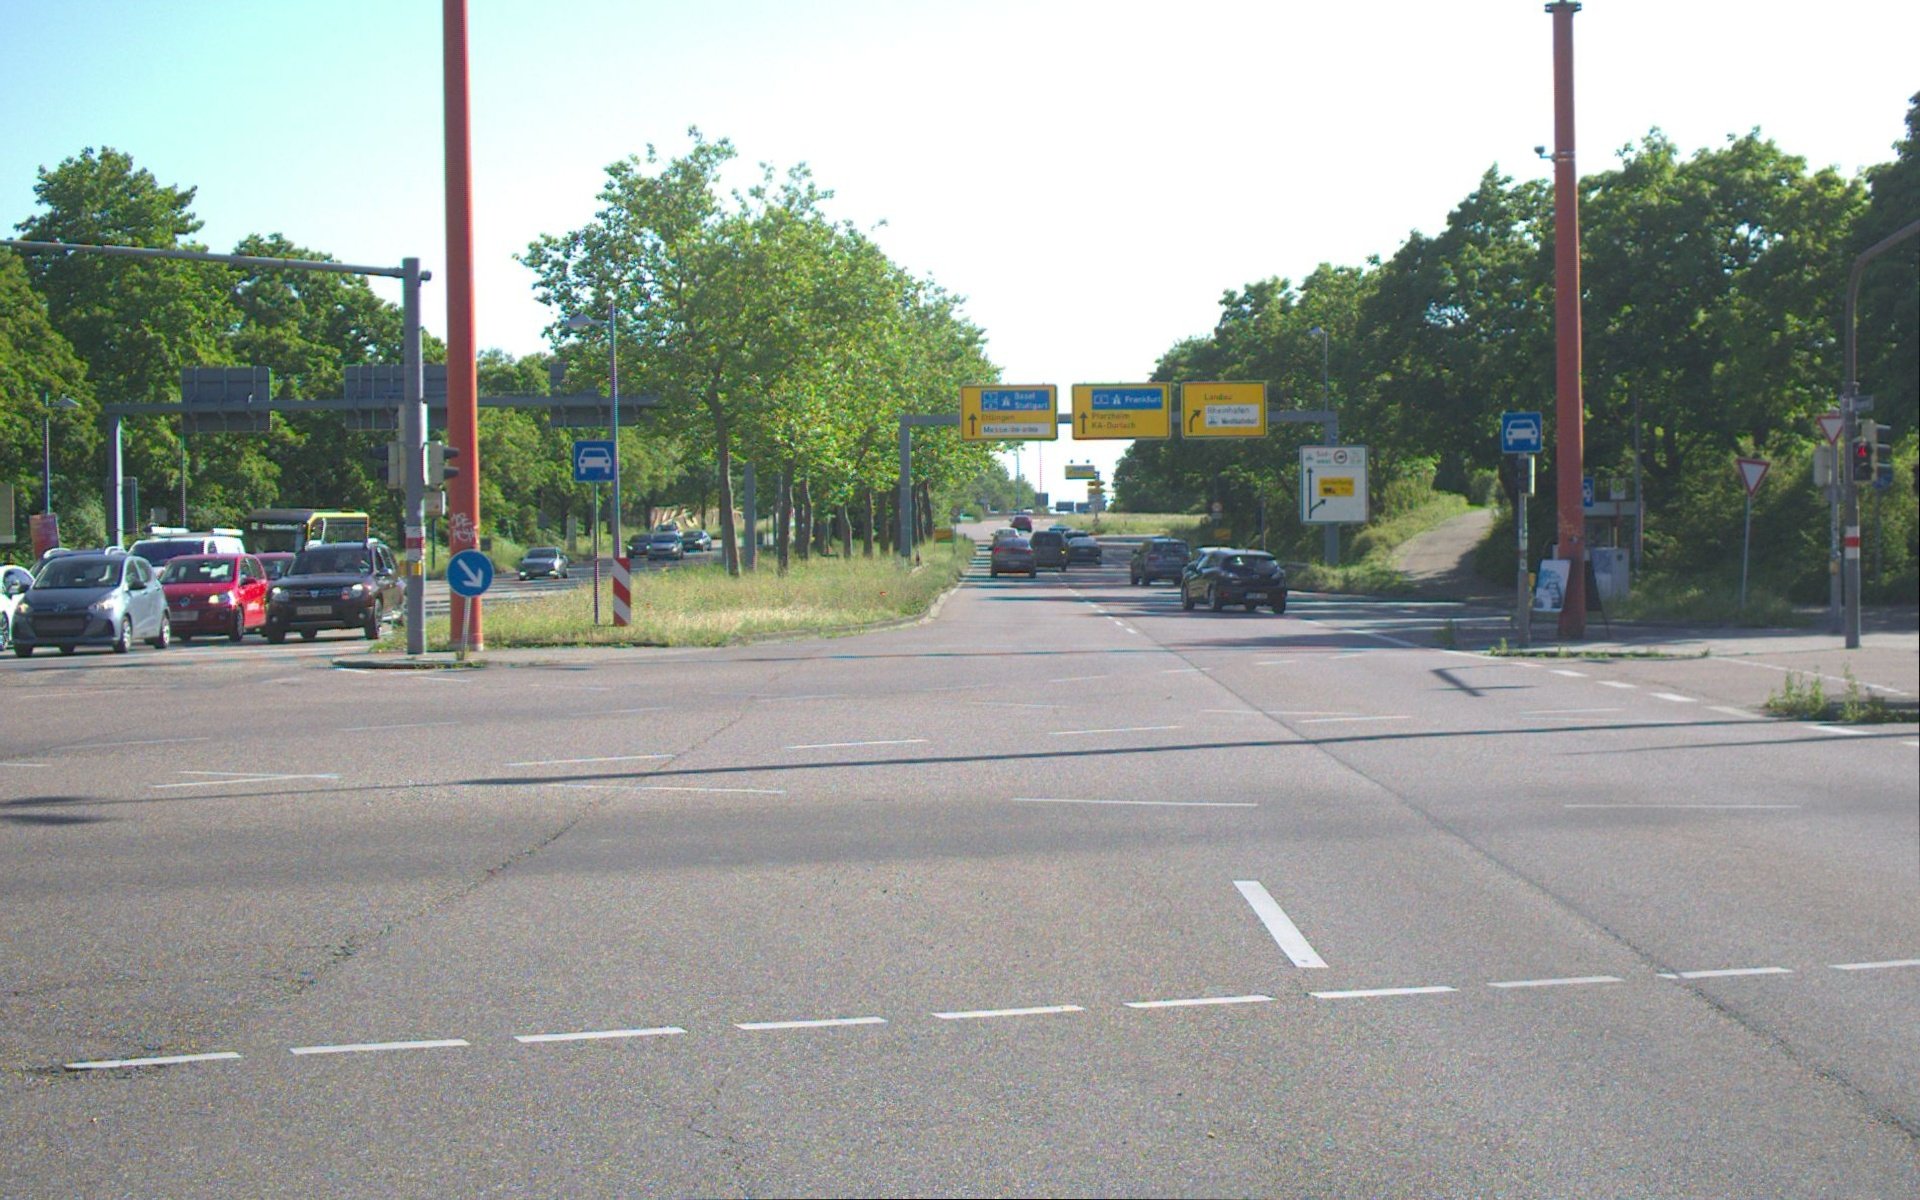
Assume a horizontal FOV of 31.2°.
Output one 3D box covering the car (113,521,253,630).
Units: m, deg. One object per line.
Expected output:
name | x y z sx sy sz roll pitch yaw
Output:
car | -16.114 -0.529 71.514 2.062 2.185 4.379 -1 1 -2

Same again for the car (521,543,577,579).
car | -18.278 -1.739 153.067 1.993 1.568 4.121 -1 1 0

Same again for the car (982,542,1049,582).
car | 2.223 -1.565 139.443 2.245 1.568 4.282 -1 1 -5

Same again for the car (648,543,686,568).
car | -17.256 -2.607 202.651 1.884 1.449 3.656 -1 1 0

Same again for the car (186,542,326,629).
car | -13.117 -0.297 64.252 1.993 1.568 4.121 -1 1 -4

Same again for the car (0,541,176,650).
car | -13.255 -0.100 52.172 1.993 1.568 4.121 -1 1 -3

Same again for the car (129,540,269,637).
car | -12.900 -0.220 58.473 1.993 1.568 4.122 -1 1 -8

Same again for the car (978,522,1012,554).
car | 2.170 -3.872 214.615 1.993 2.007 4.000 -1 1 -1

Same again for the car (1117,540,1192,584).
car | 7.000 -1.383 124.254 2.158 1.568 4.281 -1 1 -4

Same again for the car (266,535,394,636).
car | -10.249 -0.261 56.152 1.876 1.568 4.122 -1 1 -8

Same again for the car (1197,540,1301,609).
car | 6.785 -0.617 81.095 2.159 1.568 4.281 -1 1 1

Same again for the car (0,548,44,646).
car | -16.489 -0.055 57.042 1.993 1.568 4.122 -2 1 -8

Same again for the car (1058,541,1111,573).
car | 6.229 -2.176 172.393 2.158 1.568 4.281 -1 1 -4

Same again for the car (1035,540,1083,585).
car | 4.520 -1.746 157.494 1.993 2.007 4.000 -1 1 -1
